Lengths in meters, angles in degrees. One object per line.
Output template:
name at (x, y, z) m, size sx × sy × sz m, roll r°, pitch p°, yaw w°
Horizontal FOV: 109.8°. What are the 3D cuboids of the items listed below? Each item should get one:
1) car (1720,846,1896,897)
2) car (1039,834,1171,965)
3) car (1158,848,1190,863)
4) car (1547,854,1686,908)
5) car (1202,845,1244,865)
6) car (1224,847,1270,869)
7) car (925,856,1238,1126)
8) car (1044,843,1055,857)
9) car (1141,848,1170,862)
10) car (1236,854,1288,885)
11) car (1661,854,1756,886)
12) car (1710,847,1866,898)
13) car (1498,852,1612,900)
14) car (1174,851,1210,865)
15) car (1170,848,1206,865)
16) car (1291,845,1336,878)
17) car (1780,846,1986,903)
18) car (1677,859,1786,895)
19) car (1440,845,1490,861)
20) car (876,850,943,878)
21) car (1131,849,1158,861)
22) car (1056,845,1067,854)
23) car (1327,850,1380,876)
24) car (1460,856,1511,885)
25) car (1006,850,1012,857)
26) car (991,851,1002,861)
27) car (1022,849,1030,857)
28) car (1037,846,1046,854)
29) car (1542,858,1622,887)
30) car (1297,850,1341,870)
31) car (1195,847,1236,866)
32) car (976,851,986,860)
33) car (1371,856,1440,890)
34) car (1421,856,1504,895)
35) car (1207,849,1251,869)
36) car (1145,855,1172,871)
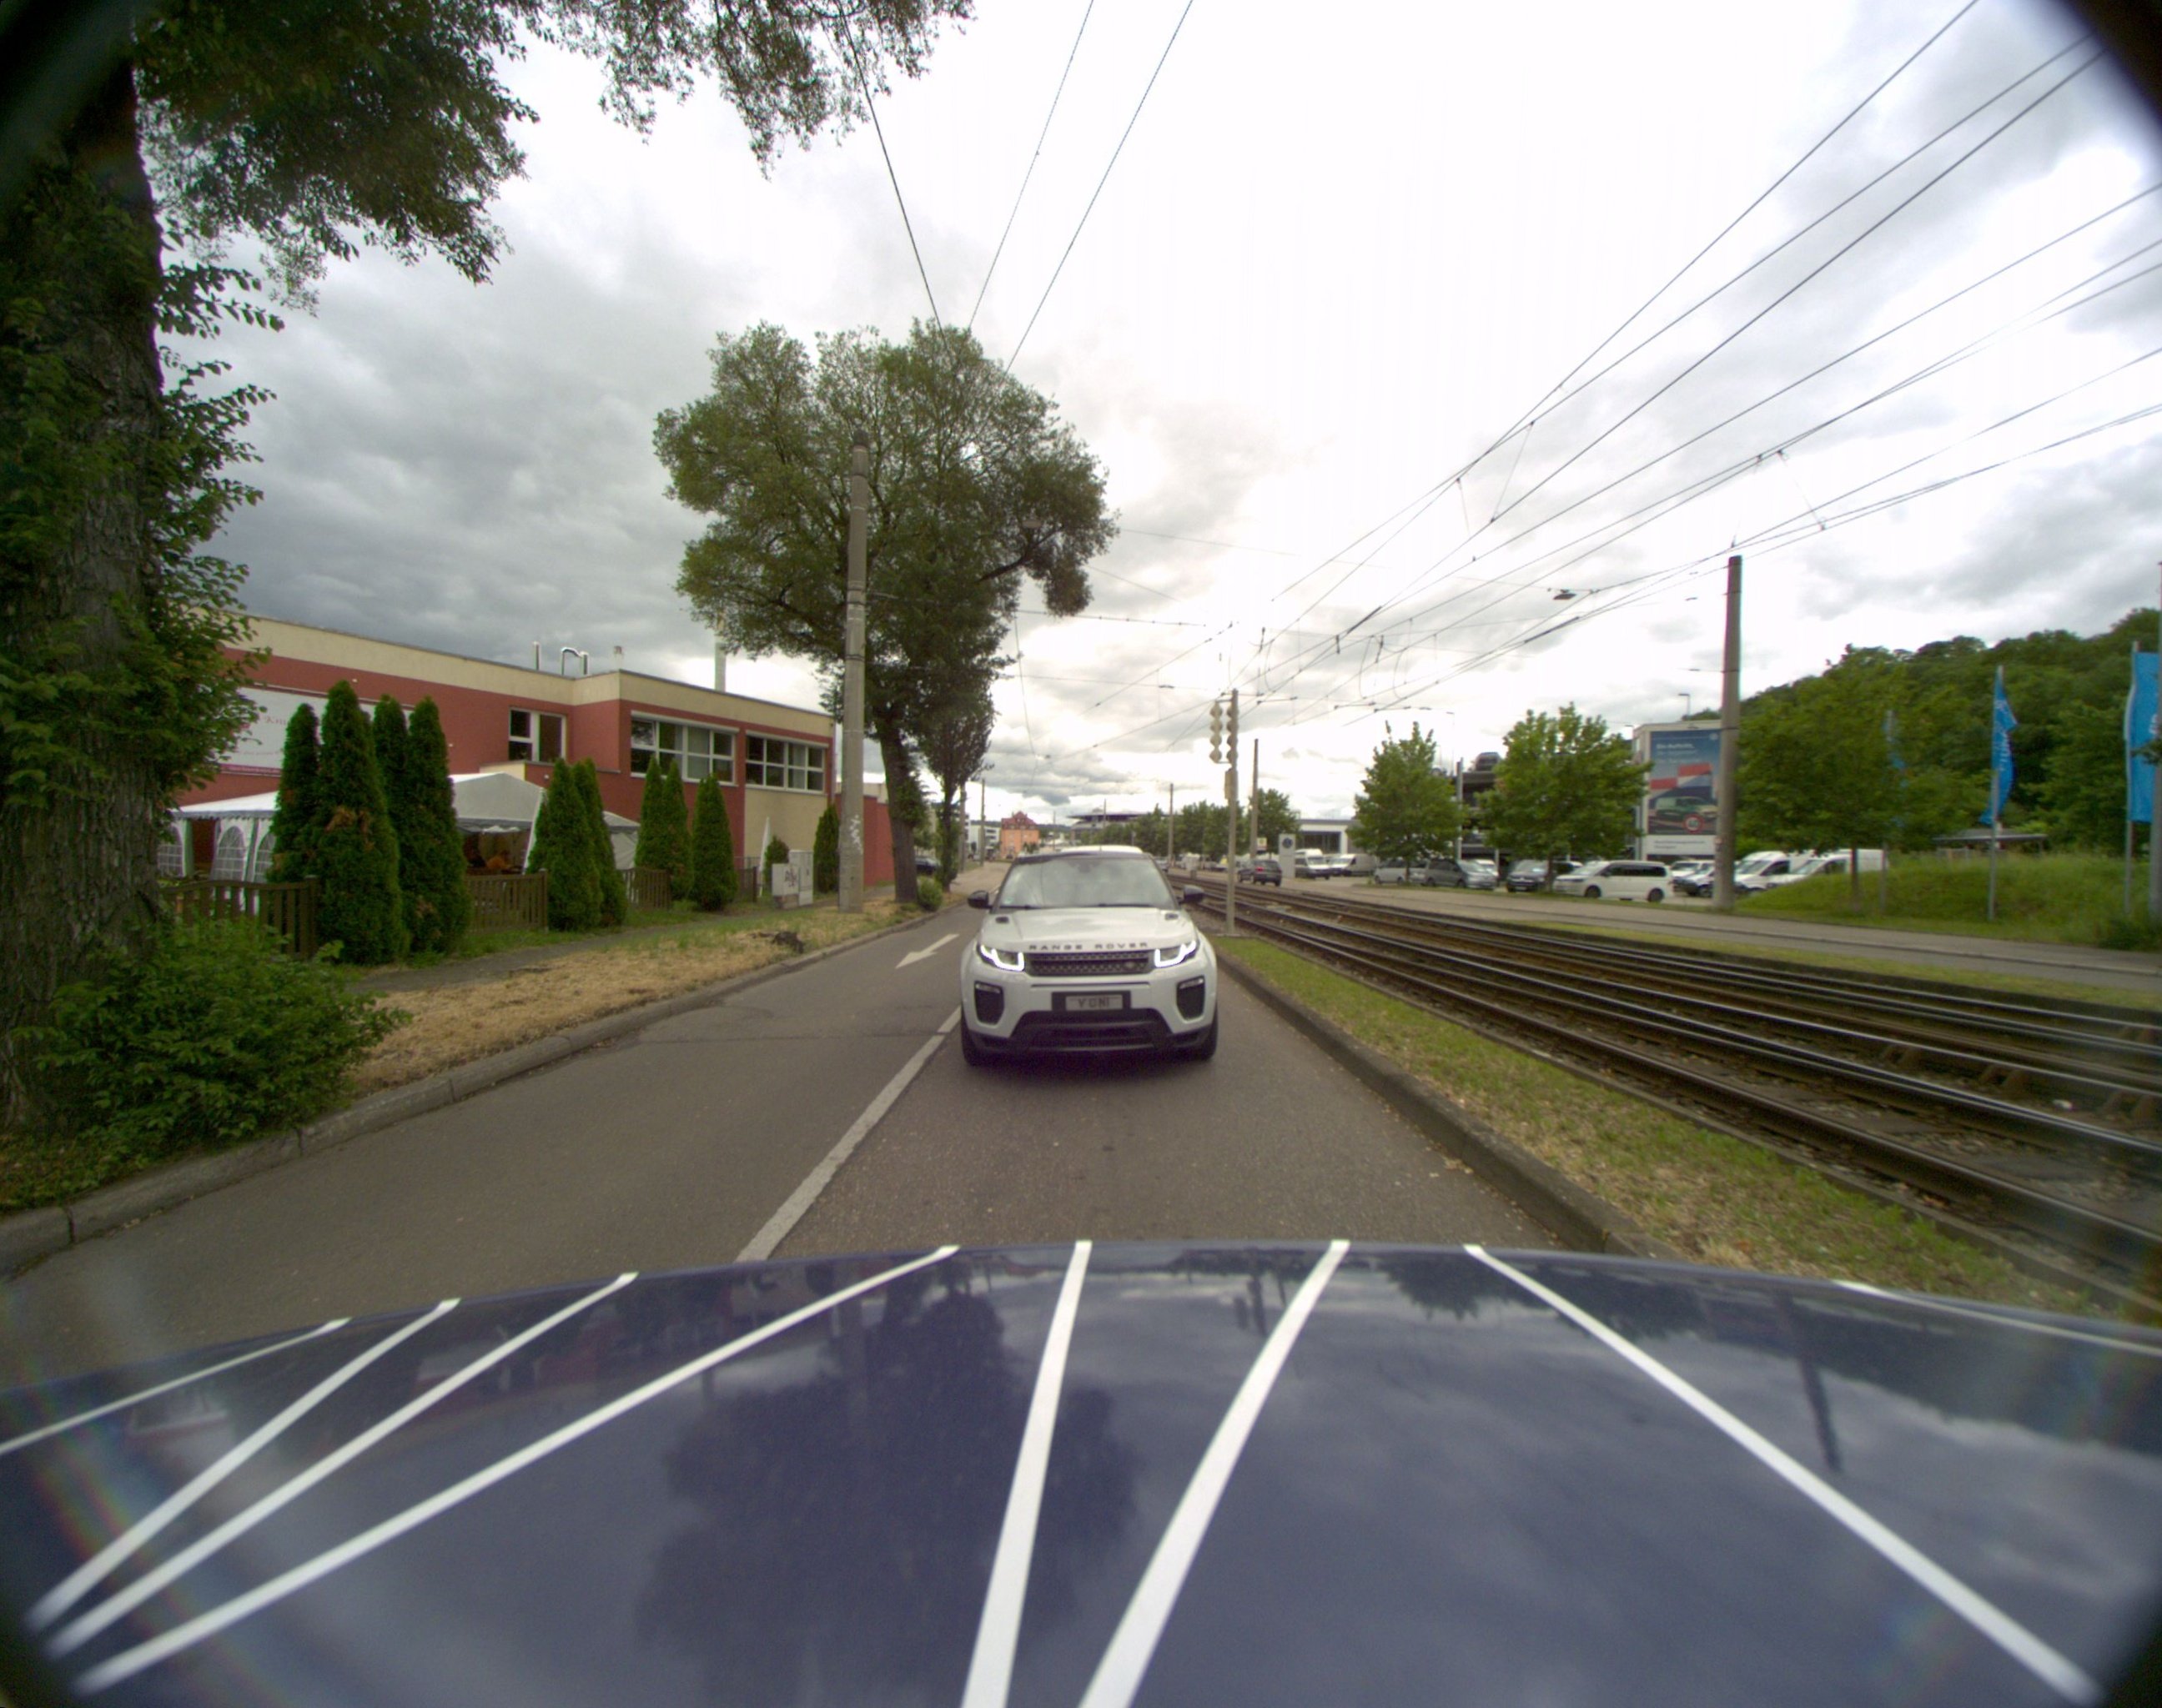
car at (35.069, 0.846, 36.897) m, size 5.839 × 2.254 × 2.056 m, roll -2°, pitch 1°, yaw 22°
car at (0.401, 0.685, 14.074) m, size 1.998 × 1.990 × 5.034 m, roll 0°, pitch 0°, yaw 1°
car at (14.768, 0.293, 120.481) m, size 4.639 × 2.196 × 2.107 m, roll -2°, pitch 1°, yaw -8°
car at (25.286, 1.231, 35.995) m, size 5.269 × 2.254 × 1.999 m, roll -2°, pitch 1°, yaw -3°
car at (17.499, 0.125, 93.607) m, size 4.639 × 2.196 × 2.107 m, roll -2°, pitch 1°, yaw -8°
car at (18.766, 0.427, 86.082) m, size 4.639 × 2.196 × 2.107 m, roll -2°, pitch 1°, yaw -8°
car at (0.003, 0.887, 6.993) m, size 1.998 × 1.680 × 4.268 m, roll 0°, pitch 1°, yaw 0°
car at (-7.232, -0.887, 172.656) m, size 2.410 × 2.931 × 4.747 m, roll -2°, pitch 1°, yaw -2°
car at (13.021, 0.220, 132.833) m, size 4.639 × 2.196 × 2.107 m, roll -2°, pitch 1°, yaw -8°
car at (11.397, 0.948, 48.041) m, size 1.906 × 1.708 × 4.134 m, roll 4°, pitch 0°, yaw -4°
car at (39.881, 1.011, 48.390) m, size 4.228 × 1.826 × 1.983 m, roll -2°, pitch 1°, yaw 19°
car at (36.912, 0.991, 39.872) m, size 5.652 × 2.446 × 1.983 m, roll -2°, pitch 1°, yaw 19°
car at (24.685, 1.103, 39.668) m, size 4.774 × 2.254 × 1.979 m, roll -2°, pitch 1°, yaw -3°
car at (15.765, 0.578, 108.103) m, size 4.639 × 1.829 × 2.107 m, roll -2°, pitch 1°, yaw -8°
car at (15.553, 0.375, 110.503) m, size 4.639 × 2.196 × 2.107 m, roll -2°, pitch 1°, yaw -8°
car at (22.411, 0.663, 73.590) m, size 2.320 × 2.994 × 6.157 m, roll -2°, pitch 1°, yaw 0°
car at (34.682, 0.903, 33.122) m, size 5.850 × 2.254 × 2.056 m, roll -2°, pitch 1°, yaw 22°
car at (36.664, 1.276, 42.980) m, size 4.228 × 1.826 × 1.983 m, roll -2°, pitch 1°, yaw 19°
car at (46.346, -0.125, 91.793) m, size 5.216 × 1.826 × 1.983 m, roll -2°, pitch 1°, yaw 21°
car at (-11.169, 0.637, 49.658) m, size 3.999 × 1.636 × 1.895 m, roll -2°, pitch 1°, yaw -6°
car at (11.856, 0.169, 141.316) m, size 4.639 × 2.196 × 2.107 m, roll -2°, pitch 1°, yaw -8°
car at (-4.626, -1.074, 178.509) m, size 2.000 × 2.002 × 3.997 m, roll -2°, pitch 1°, yaw -7°
car at (30.333, 0.960, 84.560) m, size 6.057 × 2.608 × 2.316 m, roll -3°, pitch 1°, yaw -34°
car at (28.889, 1.138, 54.404) m, size 1.900 × 1.882 × 4.600 m, roll -2°, pitch 1°, yaw 12°
car at (-22.909, -0.255, 241.627) m, size 2.000 × 2.002 × 3.997 m, roll -2°, pitch 1°, yaw -7°
car at (-16.115, 0.388, 145.222) m, size 1.869 × 1.740 × 3.998 m, roll -2°, pitch 1°, yaw -5°
car at (-14.954, -0.369, 205.854) m, size 2.000 × 2.002 × 3.997 m, roll -2°, pitch 1°, yaw -7°
car at (-10.623, -0.992, 205.068) m, size 2.000 × 2.002 × 3.997 m, roll -2°, pitch 1°, yaw -7°
car at (34.408, 1.292, 52.311) m, size 4.228 × 1.826 × 1.983 m, roll -2°, pitch 1°, yaw 19°
car at (29.127, 0.705, 93.023) m, size 4.636 × 2.196 × 2.108 m, roll -2°, pitch 1°, yaw -1°
car at (17.078, 0.305, 96.391) m, size 4.639 × 2.196 × 2.107 m, roll -2°, pitch 1°, yaw -8°
car at (-21.311, 0.319, 161.908) m, size 1.906 × 1.708 × 4.133 m, roll 5°, pitch 1°, yaw -5°
car at (22.135, 1.216, 52.099) m, size 2.142 × 2.104 × 4.772 m, roll -2°, pitch 1°, yaw -8°
car at (22.912, 1.247, 45.860) m, size 2.142 × 2.104 × 4.773 m, roll -2°, pitch 1°, yaw -7°
car at (17.707, 0.591, 91.171) m, size 4.639 × 2.196 × 2.107 m, roll -2°, pitch 1°, yaw -8°
car at (7.894, 0.943, 77.697) m, size 1.999 × 1.569 × 4.176 m, roll 1°, pitch 0°, yaw -5°
